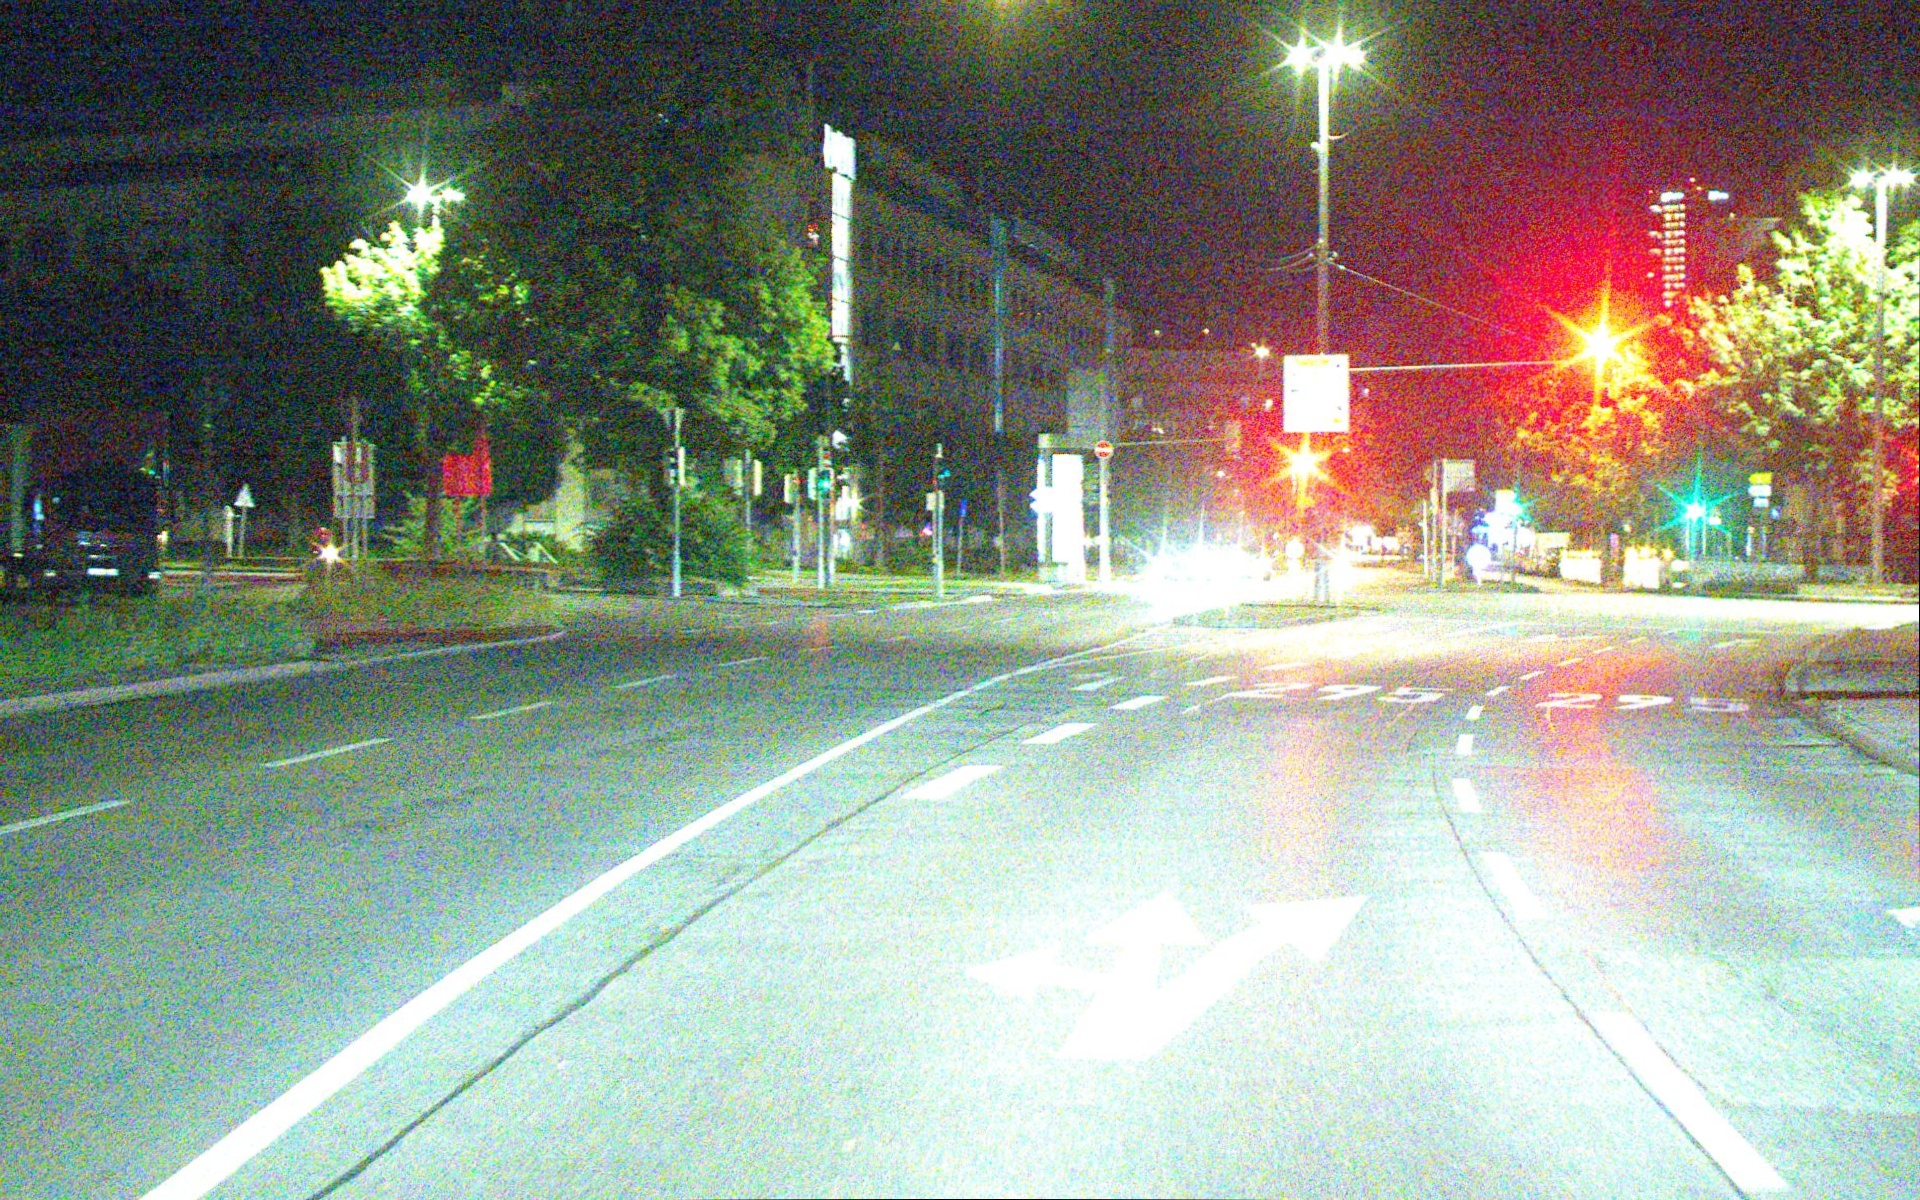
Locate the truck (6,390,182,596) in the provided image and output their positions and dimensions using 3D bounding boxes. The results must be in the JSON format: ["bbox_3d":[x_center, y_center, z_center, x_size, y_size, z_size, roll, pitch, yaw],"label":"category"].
[{"bbox_3d":[-17.422,-2.055,68.749,2.937,3.783,9.561,1,1,-17],"label":"truck"}]

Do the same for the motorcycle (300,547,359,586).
[{"bbox_3d":[-15.118,-0.806,82.404,0.578,0.893,2.155,-2,2,-33],"label":"motorcycle"}]

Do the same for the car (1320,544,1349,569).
[{"bbox_3d":[26.454,-3.070,242.764,1.758,1.722,3.546,1,1,9],"label":"car"}]

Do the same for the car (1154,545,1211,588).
[{"bbox_3d":[8.073,-1.229,124.456,1.616,1.509,3.998,1,1,10],"label":"car"}]

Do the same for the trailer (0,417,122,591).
[{"bbox_3d":[-20.865,-2.157,78.811,2.612,3.778,6.516,1,1,-19],"label":"trailer"}]

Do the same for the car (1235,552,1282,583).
[{"bbox_3d":[13.116,-1.415,150.753,1.758,1.317,3.546,1,1,9],"label":"car"}]

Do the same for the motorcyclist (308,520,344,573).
[{"bbox_3d":[-15.135,-1.269,82.095,0.646,1.257,0.579,1,1,-33],"label":"motorcyclist"}]
